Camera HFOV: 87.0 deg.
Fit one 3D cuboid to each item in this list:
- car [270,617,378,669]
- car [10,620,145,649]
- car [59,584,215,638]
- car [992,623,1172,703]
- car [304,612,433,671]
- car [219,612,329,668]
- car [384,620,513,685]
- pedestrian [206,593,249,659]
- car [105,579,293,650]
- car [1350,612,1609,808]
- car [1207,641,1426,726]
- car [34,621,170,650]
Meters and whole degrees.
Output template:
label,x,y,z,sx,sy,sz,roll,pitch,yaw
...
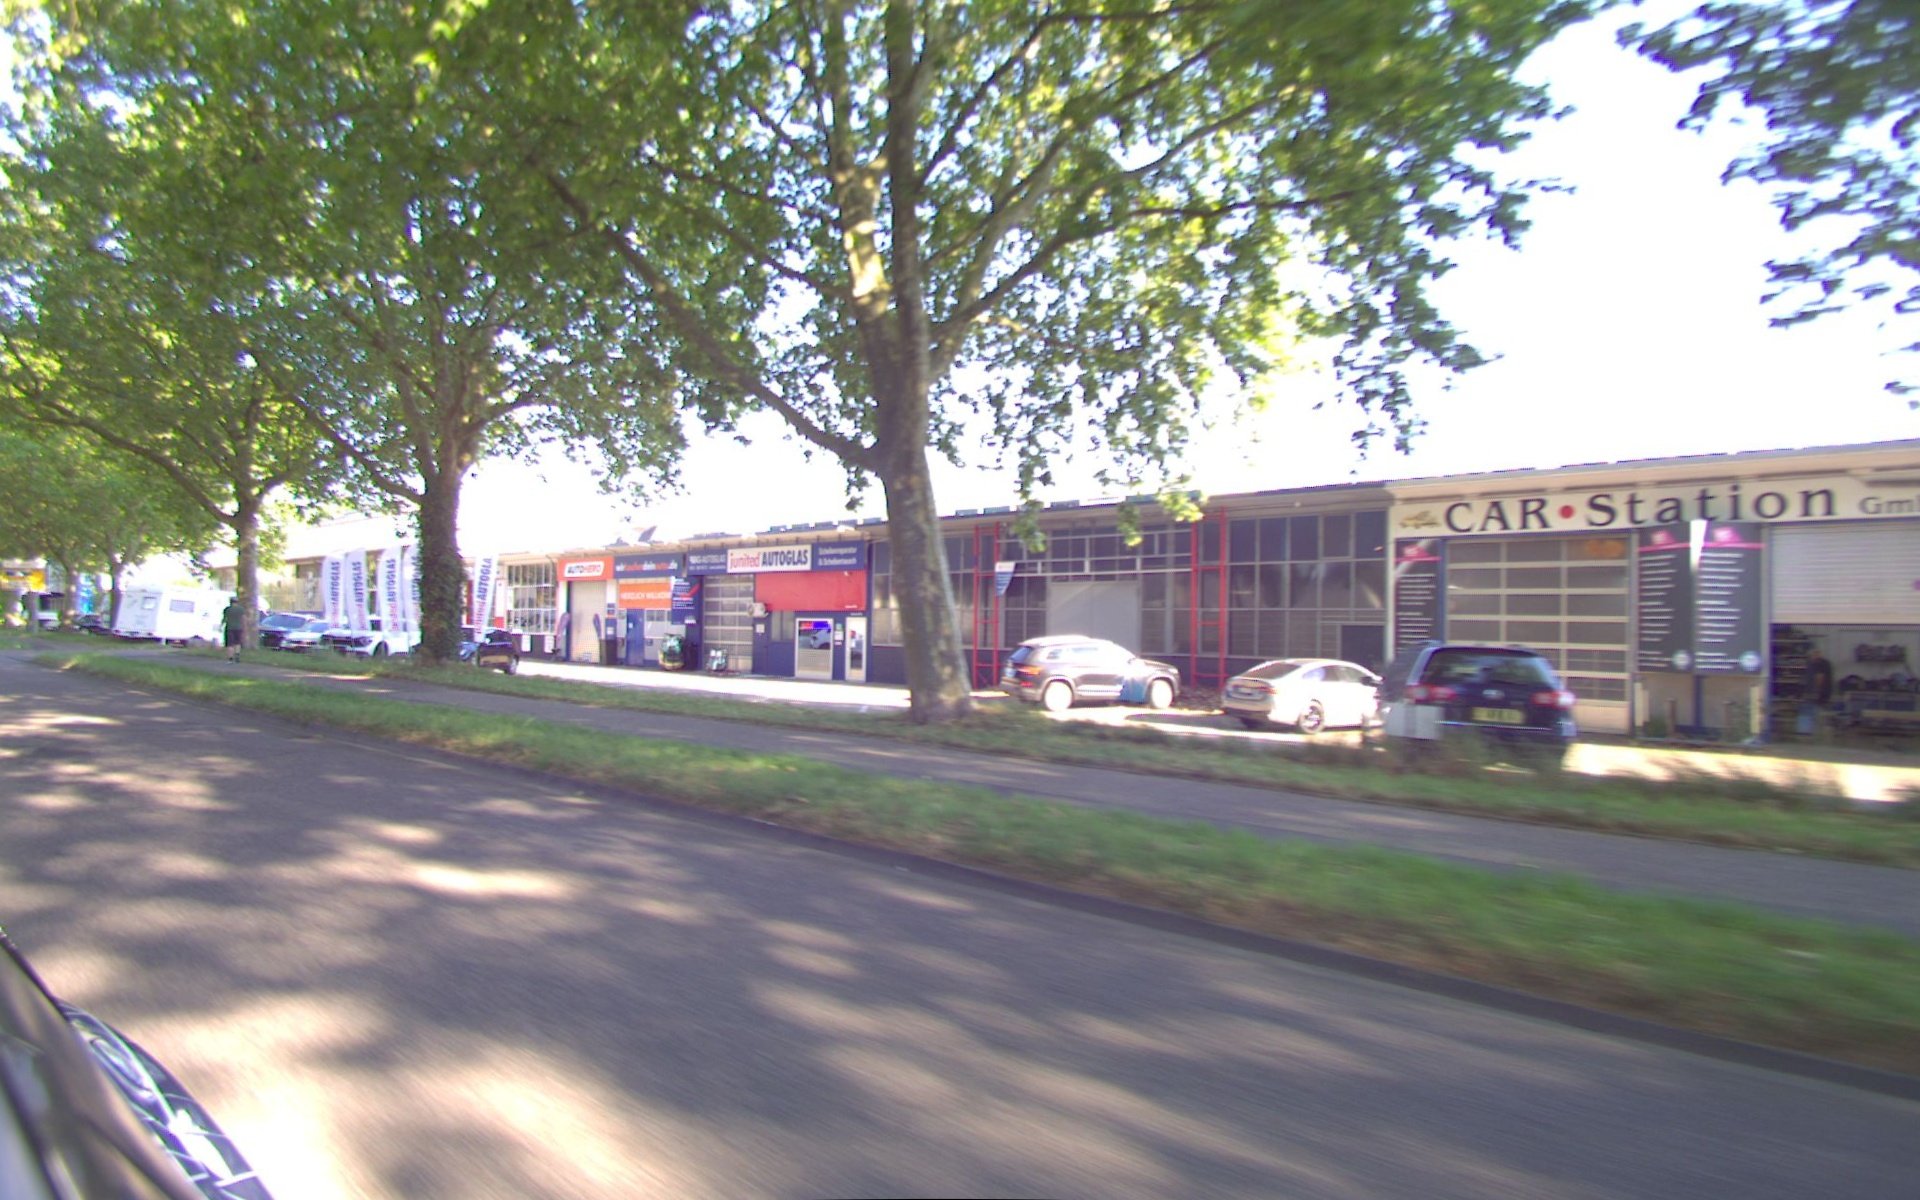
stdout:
label,x,y,z,sx,sy,sz,roll,pitch,yaw
car,-22.239,1.448,35.579,1.967,1.582,4.062,0,1,-12
car,-59.814,2.384,68.752,2.708,1.693,6.322,-1,-5,22
car,-44.548,0.685,55.061,2.574,2.516,6.303,0,-4,11
car,2.993,1.500,24.970,3.931,1.718,2.007,0,1,-22
car,-19.714,1.325,33.949,1.971,1.764,4.316,0,1,-3
car,-25.513,1.438,37.804,1.967,1.854,4.259,0,1,-12
car,-14.391,1.436,28.724,1.970,1.586,3.847,0,1,-5
pedestrian,-20.374,0.705,28.148,0.940,1.786,0.795,1,1,43
car,-35.477,0.790,47.561,2.575,2.875,6.931,0,-4,12
car,6.065,1.098,12.482,1.983,1.773,4.873,0,1,17
car,7.394,1.673,21.052,3.931,1.453,2.007,0,1,-22
car,-57.103,2.402,67.564,2.708,1.693,6.373,-1,-5,22
